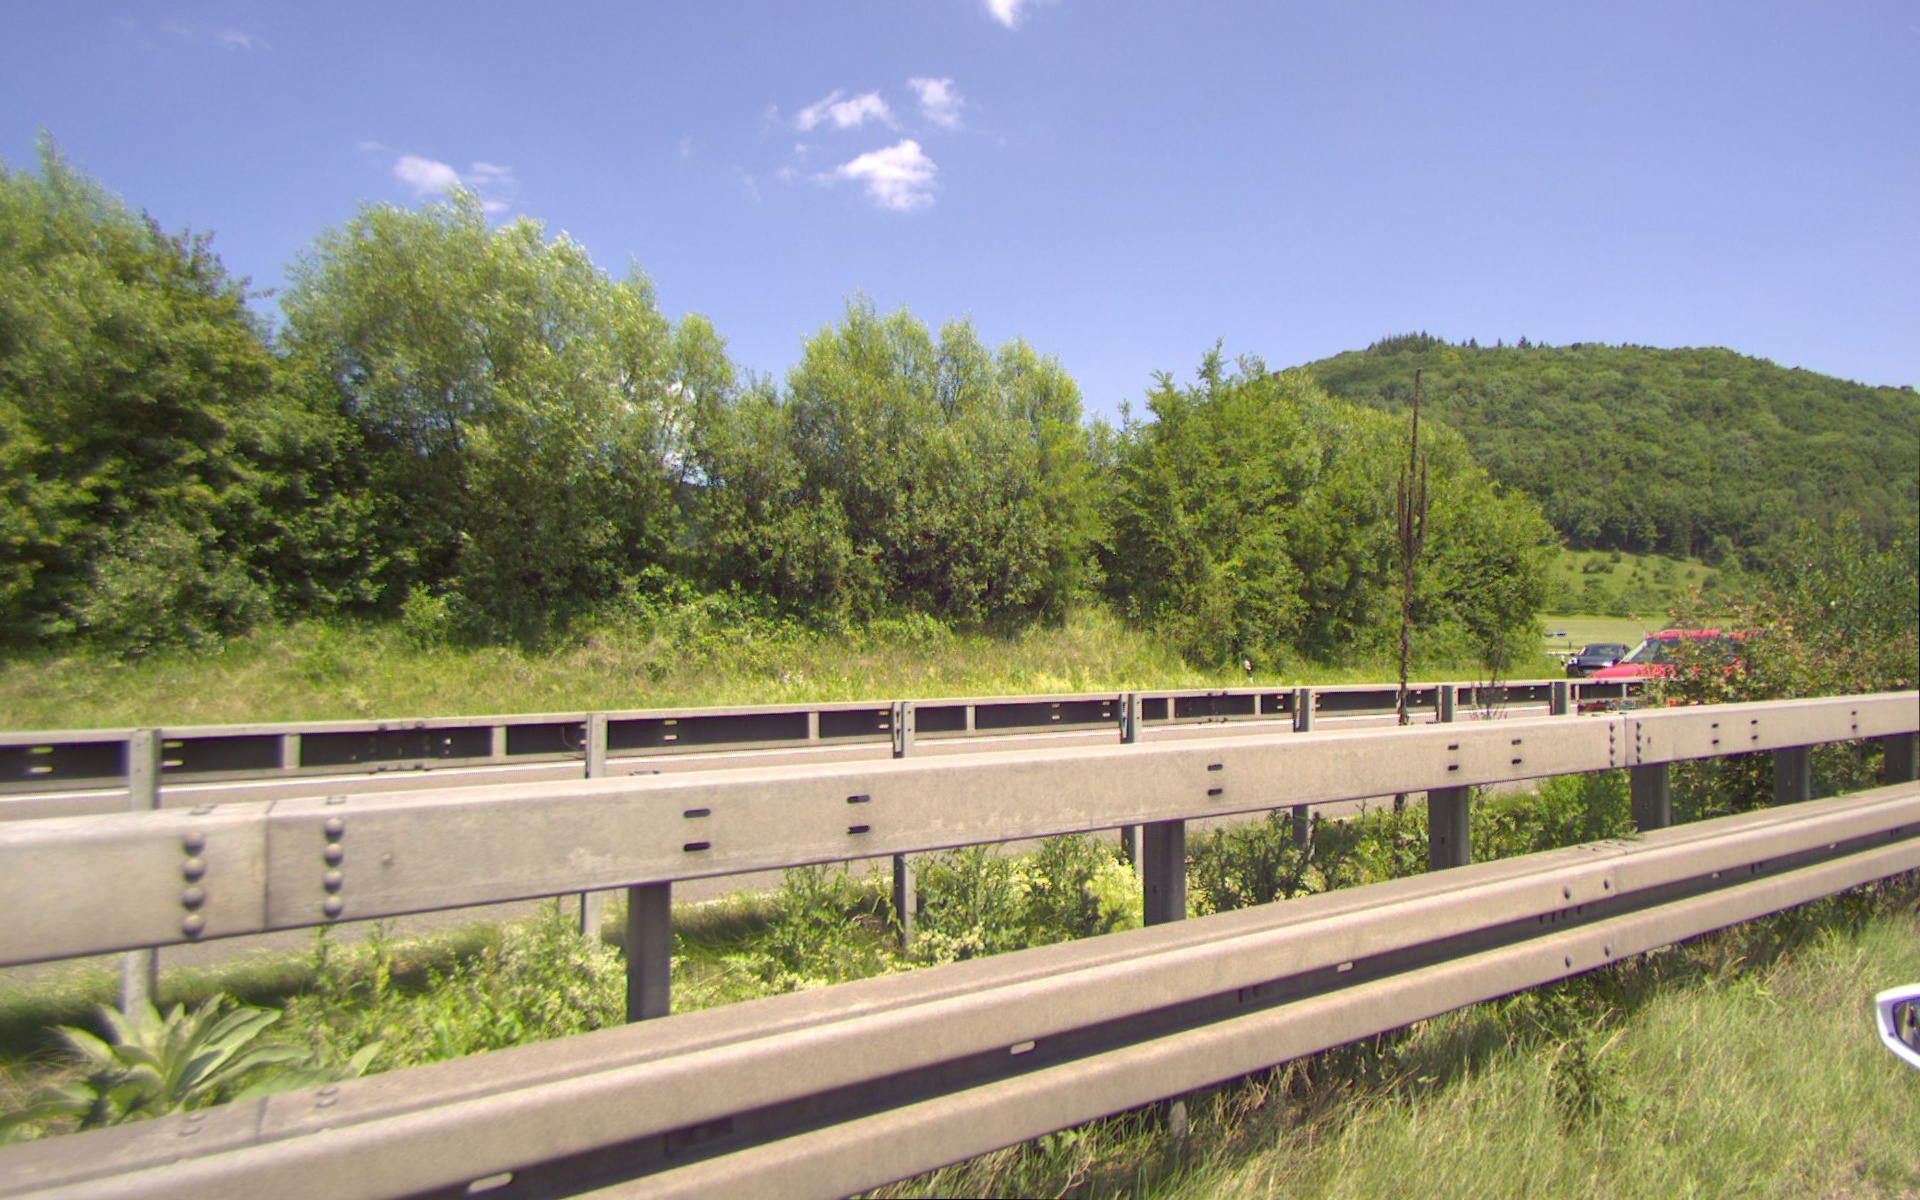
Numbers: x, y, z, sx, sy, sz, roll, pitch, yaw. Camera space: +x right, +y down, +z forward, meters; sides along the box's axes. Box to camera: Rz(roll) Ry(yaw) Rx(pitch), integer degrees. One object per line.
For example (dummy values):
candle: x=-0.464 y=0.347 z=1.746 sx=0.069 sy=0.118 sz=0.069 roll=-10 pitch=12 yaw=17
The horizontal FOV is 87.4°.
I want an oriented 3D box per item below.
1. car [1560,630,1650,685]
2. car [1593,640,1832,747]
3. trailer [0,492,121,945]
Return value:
car: x=23.419 y=2.033 z=36.437 sx=3.970 sy=1.862 sz=1.791 roll=2 pitch=-2 yaw=-42
car: x=11.848 y=1.381 z=15.775 sx=3.954 sy=1.461 sz=1.639 roll=2 pitch=-2 yaw=-31
trailer: x=-6.535 y=0.522 z=4.593 sx=3.783 sy=2.098 sz=2.016 roll=1 pitch=-1 yaw=-30
